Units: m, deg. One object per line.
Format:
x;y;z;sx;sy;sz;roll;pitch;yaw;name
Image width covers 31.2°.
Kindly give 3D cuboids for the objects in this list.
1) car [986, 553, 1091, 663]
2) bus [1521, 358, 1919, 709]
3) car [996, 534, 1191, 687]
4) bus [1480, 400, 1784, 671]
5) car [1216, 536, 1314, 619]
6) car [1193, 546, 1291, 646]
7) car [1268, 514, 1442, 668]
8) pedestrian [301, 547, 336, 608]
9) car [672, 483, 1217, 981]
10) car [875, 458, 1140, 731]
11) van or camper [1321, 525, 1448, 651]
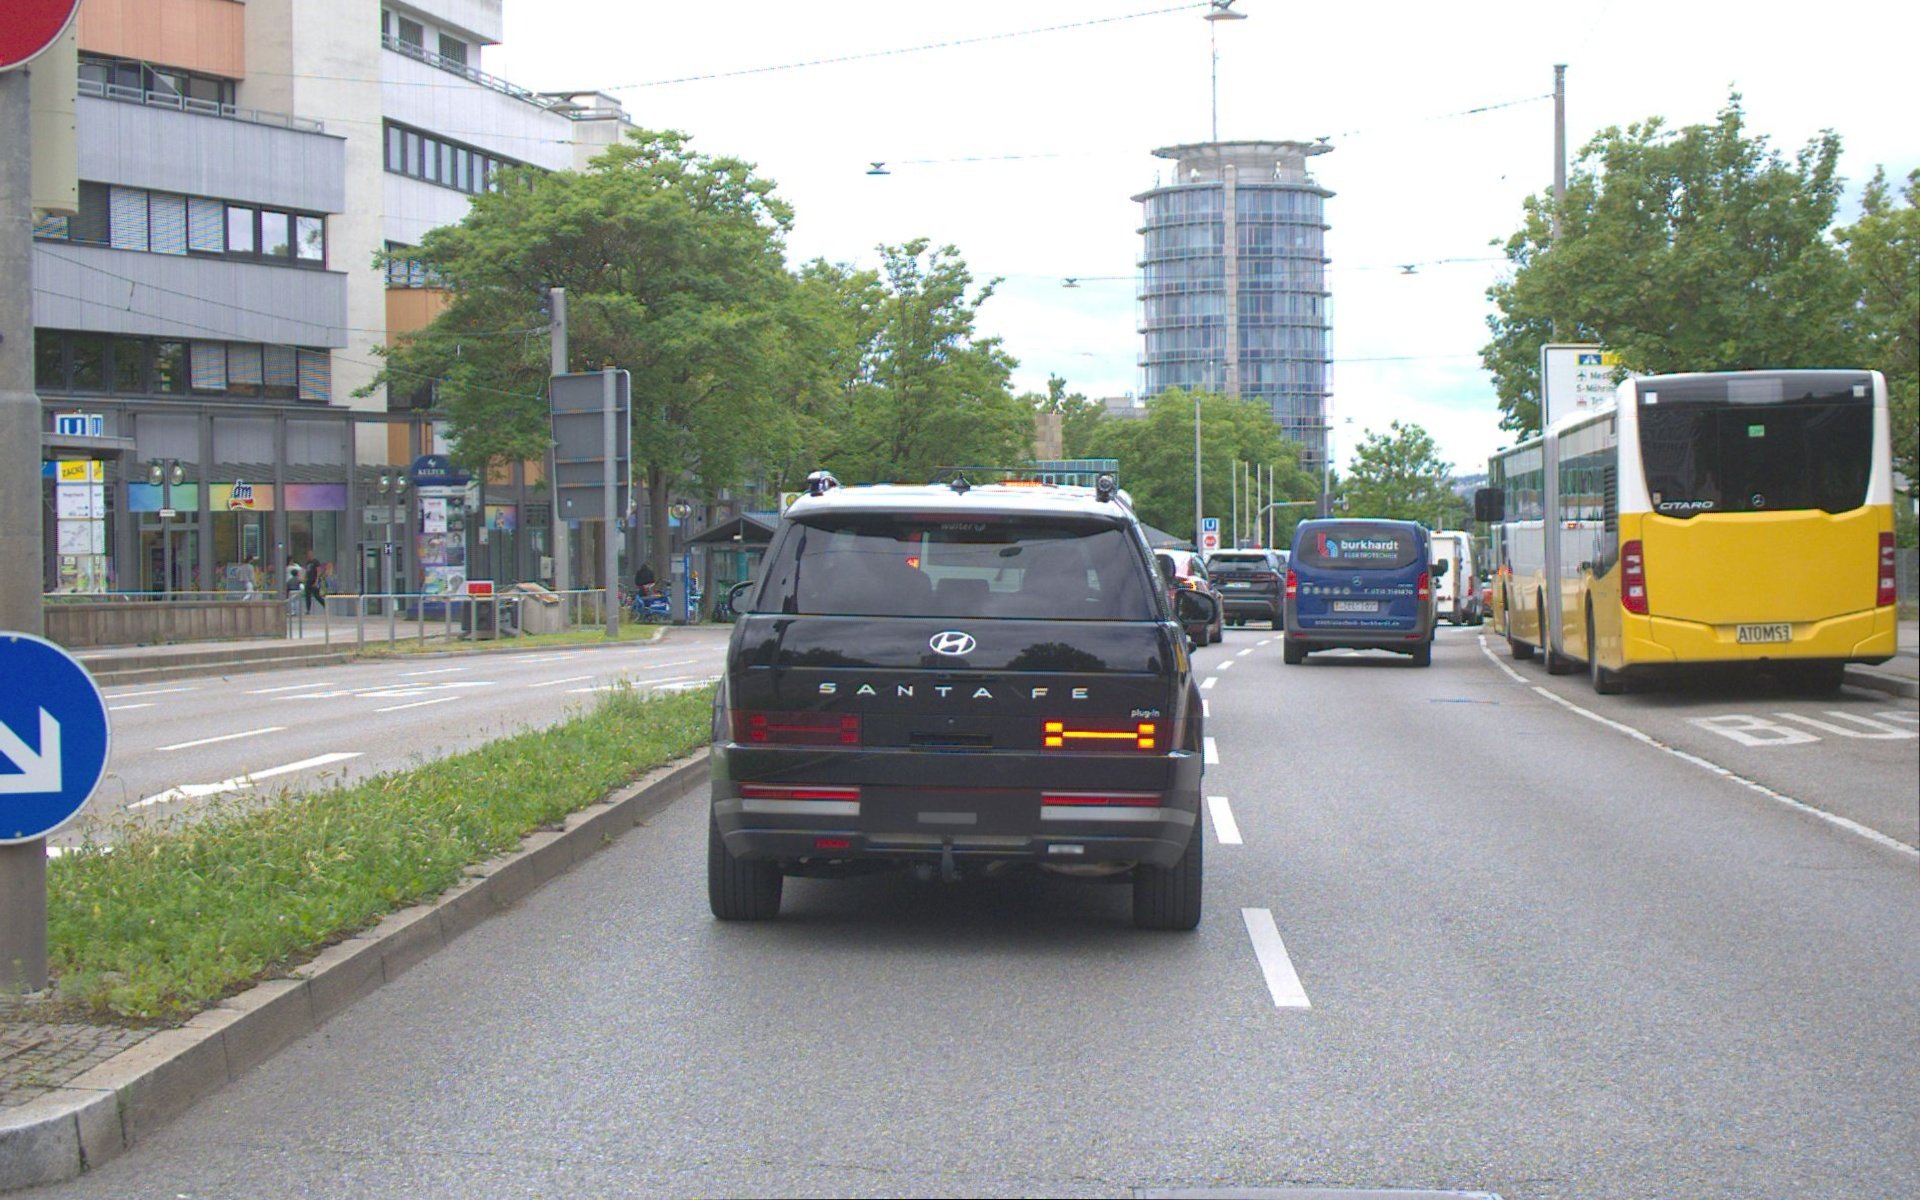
1.555;0.121;66.524;1.902;1.922;4.709;1;2;3;car
7.679;-0.673;35.900;2.967;3.106;9.242;-2;1;6;bus
1.450;0.066;39.133;1.902;1.537;4.710;1;2;-1;car
8.638;-0.834;45.363;2.952;3.101;9.974;-2;1;6;bus
7.272;-0.565;81.621;1.903;1.827;4.708;1;2;10;car
5.760;-0.118;70.266;1.902;1.852;4.709;1;2;4;car
5.123;-0.171;45.110;1.902;1.852;4.709;1;2;3;car
-17.484;-0.609;93.706;0.731;1.667;0.581;0;1;25;pedestrian
0.033;0.394;14.370;1.902;1.725;4.446;1;2;2;car
0.410;-0.118;27.456;1.902;1.962;4.636;1;2;2;car
7.060;-0.239;57.516;1.994;1.911;4.408;0;3;6;van or camper
